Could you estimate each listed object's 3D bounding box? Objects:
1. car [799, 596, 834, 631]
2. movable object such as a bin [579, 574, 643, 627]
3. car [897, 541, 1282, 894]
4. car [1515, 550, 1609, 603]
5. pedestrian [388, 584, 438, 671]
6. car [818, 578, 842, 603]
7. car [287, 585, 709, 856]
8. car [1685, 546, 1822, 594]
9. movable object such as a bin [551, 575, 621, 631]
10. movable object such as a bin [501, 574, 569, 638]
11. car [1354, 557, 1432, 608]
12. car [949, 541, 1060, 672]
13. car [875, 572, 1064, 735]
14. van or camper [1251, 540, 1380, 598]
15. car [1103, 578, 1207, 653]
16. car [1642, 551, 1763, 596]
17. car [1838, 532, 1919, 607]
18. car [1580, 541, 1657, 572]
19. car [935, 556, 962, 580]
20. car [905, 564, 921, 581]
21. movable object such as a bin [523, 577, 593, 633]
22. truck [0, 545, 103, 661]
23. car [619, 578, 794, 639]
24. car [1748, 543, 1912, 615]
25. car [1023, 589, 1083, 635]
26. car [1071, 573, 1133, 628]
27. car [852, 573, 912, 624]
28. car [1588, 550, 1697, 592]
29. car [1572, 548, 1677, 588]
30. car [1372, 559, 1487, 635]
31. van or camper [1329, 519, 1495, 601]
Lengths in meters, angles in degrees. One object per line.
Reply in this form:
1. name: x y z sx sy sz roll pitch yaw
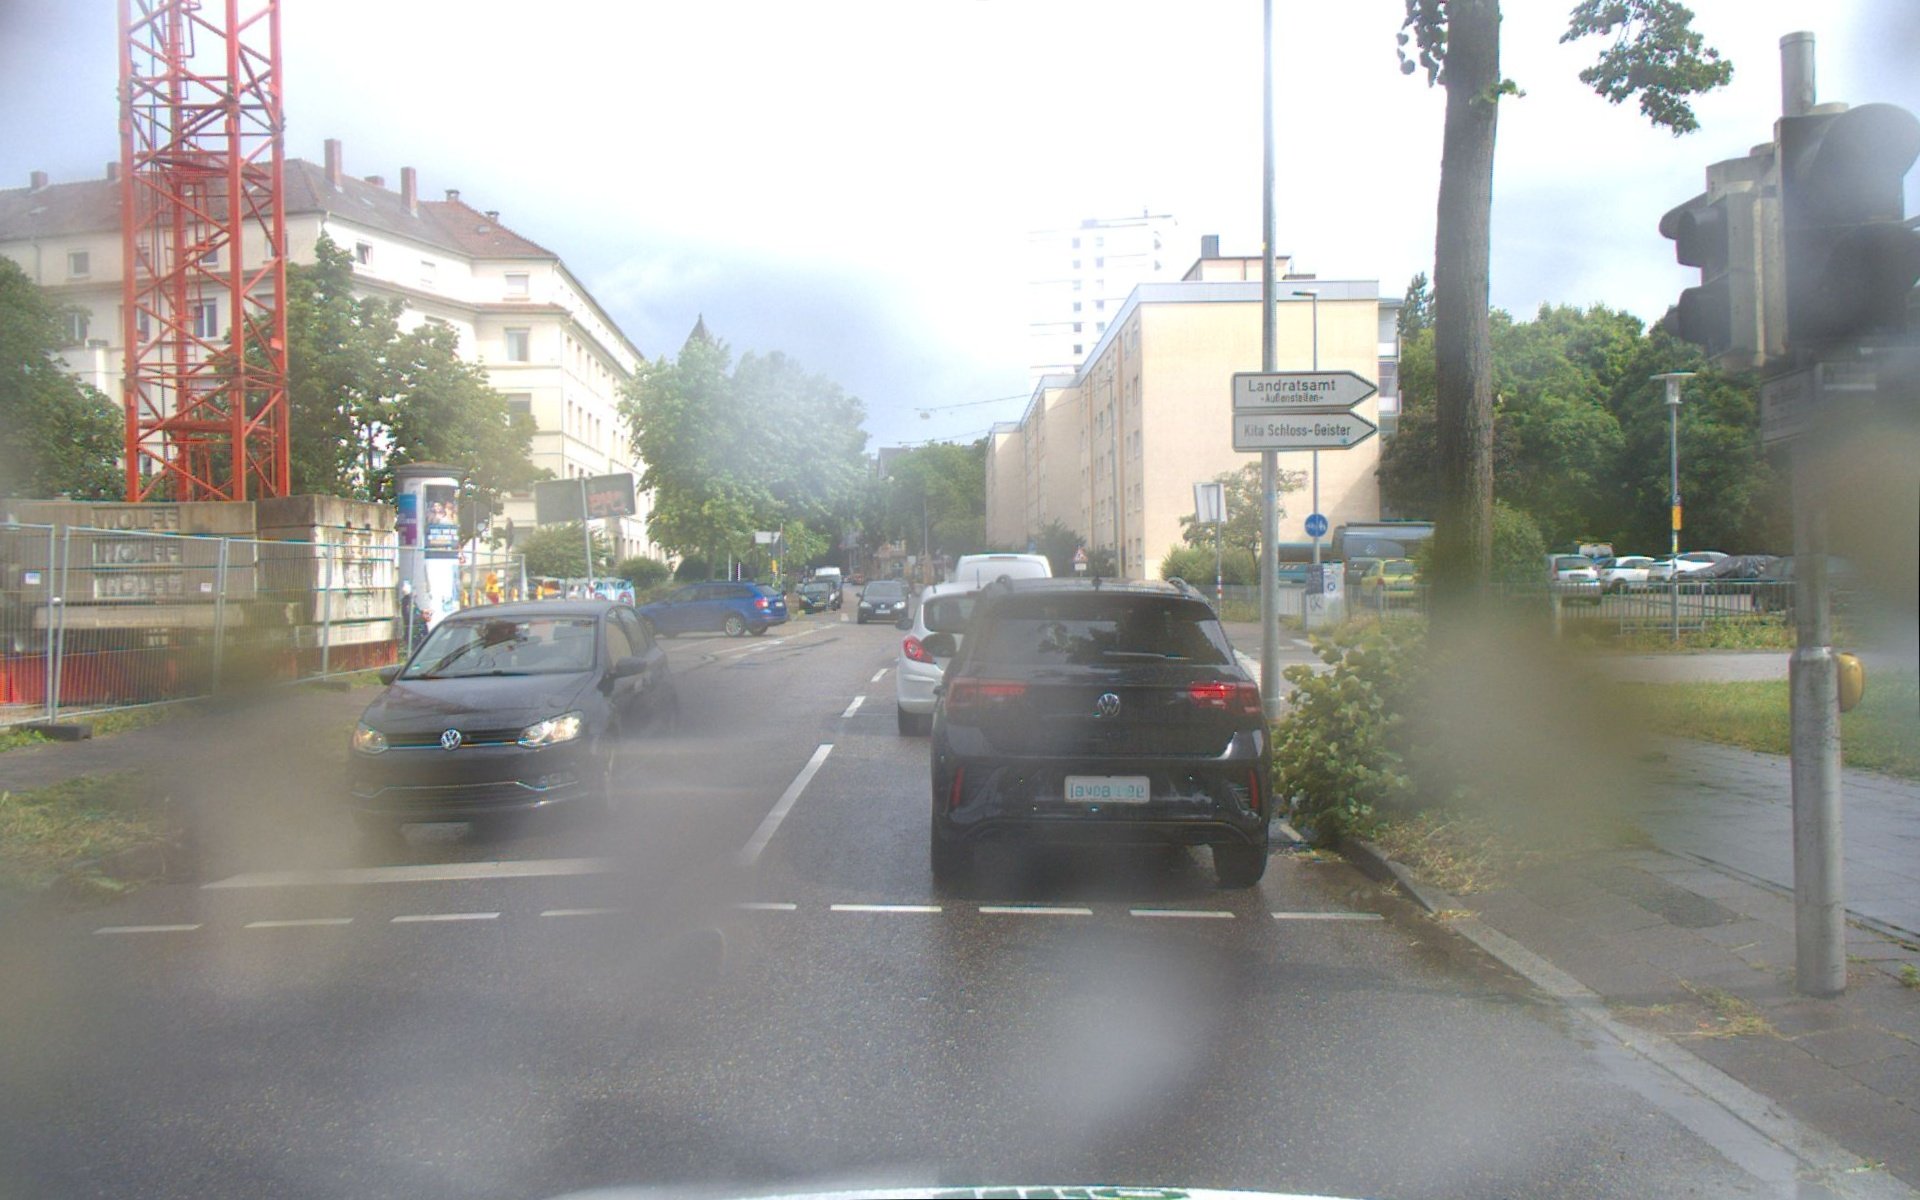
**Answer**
1. car: -6.874 0.622 79.098 1.555 1.532 4.060 -2 1 -5
2. movable object such as a bin: -11.606 0.018 55.002 1.505 1.691 1.459 -1 1 18
3. car: 0.606 0.565 9.995 1.835 1.674 4.061 1 0 -1
4. car: 18.362 -0.719 50.609 1.614 1.512 3.720 -2 1 2
5. pedestrian: -10.563 0.527 31.966 0.716 1.658 0.675 1 -1 -38
6. car: -9.077 -0.666 115.224 1.555 1.668 3.916 -2 1 -5
7. car: -3.018 0.689 11.704 1.776 1.567 3.983 0 1 1
8. car: 27.395 -1.035 57.179 3.892 1.490 1.673 -2 1 1
9. movable object such as a bin: -12.090 0.093 53.479 1.505 1.703 1.667 -1 1 18
10. movable object such as a bin: -12.938 0.171 50.366 1.505 1.856 1.264 -1 1 18
11. car: 13.335 -0.538 51.088 1.577 1.474 3.418 -2 1 2
12. car: 0.785 0.110 29.335 1.798 2.139 4.001 1 0 1
13. car: 0.074 0.514 17.735 1.776 1.529 3.999 1 0 -1
14. van or camper: 13.923 -1.228 65.028 4.660 2.168 2.323 -1 1 3
15. car: 4.566 0.316 39.329 1.738 1.566 4.377 -3 1 -2
16. car: 26.763 -0.960 59.672 3.590 1.512 1.640 -2 1 3
17. car: 22.823 -0.745 39.370 1.814 1.708 4.426 -2 1 5
18. car: 32.245 -2.109 80.999 3.158 1.422 1.509 -2 1 3
19. car: -0.795 -2.300 118.726 1.803 1.636 3.676 -3 1 1
20. car: -5.142 -3.025 181.537 1.632 1.870 3.998 -2 1 -3
21. movable object such as a bin: -12.603 0.147 51.911 1.505 1.685 1.529 -1 1 18
22. truck: -30.825 0.031 48.798 9.602 3.239 3.796 0 1 12
23. car: -6.870 0.205 44.953 4.338 1.612 1.823 0 1 13
24. car: 20.504 -0.499 39.203 1.790 1.553 4.426 -2 1 4
25. car: 3.457 0.471 62.315 1.714 1.535 4.107 -1 -3 -4
26. car: 4.319 0.050 50.829 1.720 1.554 4.001 2 -1 3
27. car: -2.666 -0.086 57.366 1.803 1.636 4.000 -3 1 1
28. car: 26.806 -1.134 65.035 3.590 1.512 1.640 -2 1 3
29. car: 27.081 -1.298 67.455 3.590 1.512 1.640 -2 1 3
30. car: 11.766 -0.102 41.681 1.766 1.780 4.239 -2 1 2
31. van or camper: 14.893 -1.289 54.704 4.895 2.599 2.175 -1 0 1
